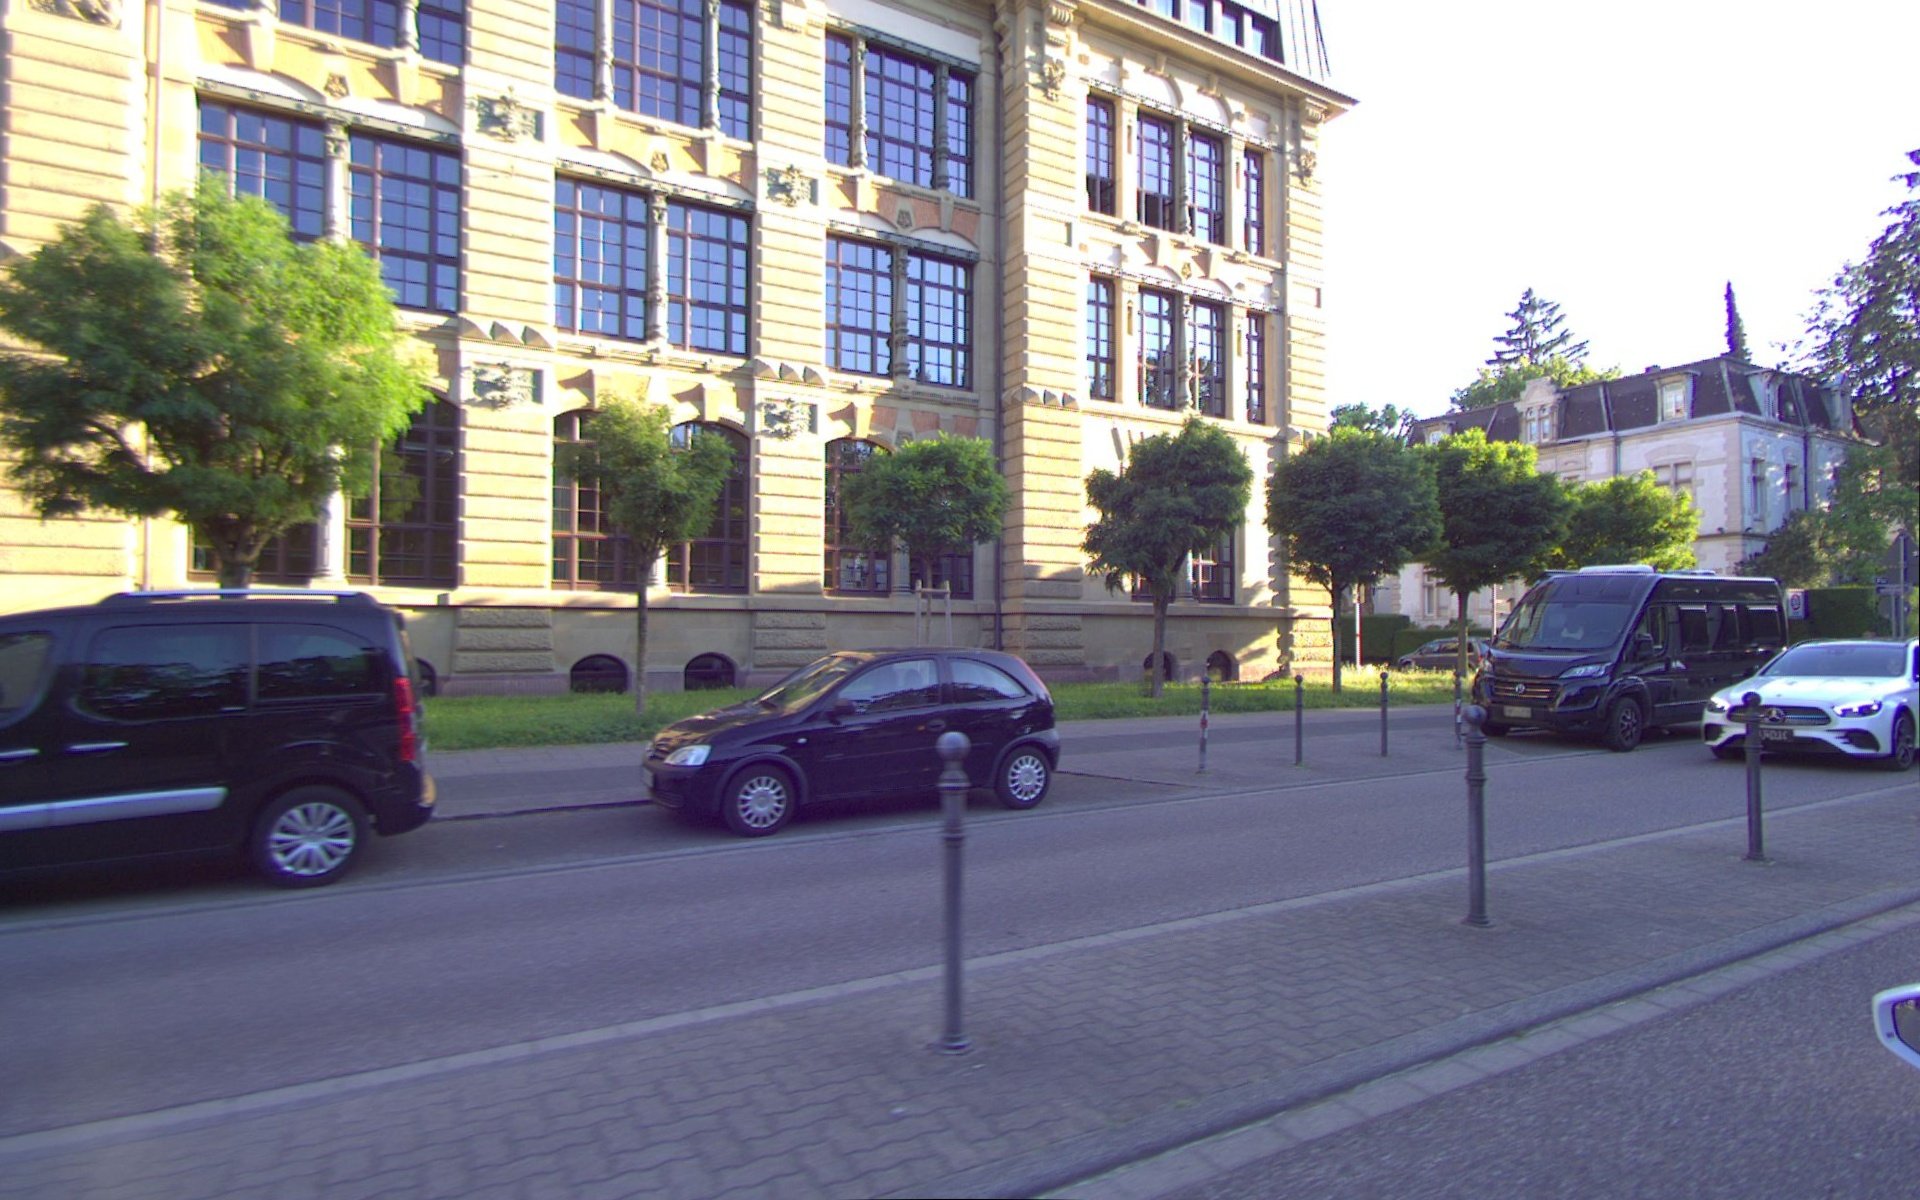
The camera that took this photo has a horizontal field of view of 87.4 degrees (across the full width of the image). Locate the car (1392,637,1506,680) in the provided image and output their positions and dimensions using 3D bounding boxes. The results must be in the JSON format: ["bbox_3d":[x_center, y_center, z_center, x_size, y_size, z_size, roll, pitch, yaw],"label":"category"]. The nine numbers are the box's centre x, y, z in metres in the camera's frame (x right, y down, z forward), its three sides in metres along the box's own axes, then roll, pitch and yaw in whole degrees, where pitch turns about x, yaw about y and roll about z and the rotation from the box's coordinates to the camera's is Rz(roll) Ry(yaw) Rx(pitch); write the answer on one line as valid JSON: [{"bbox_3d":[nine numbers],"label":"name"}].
[{"bbox_3d":[20.730,2.446,42.706,1.899,1.695,3.966,1,-2,-32],"label":"car"}]

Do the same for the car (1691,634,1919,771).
[{"bbox_3d":[11.409,1.206,12.787,4.570,1.477,1.733,2,-3,-31],"label":"car"}]

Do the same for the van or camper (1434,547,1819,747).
[{"bbox_3d":[10.585,0.704,15.698,6.998,2.578,2.218,2,-1,-31],"label":"van or camper"}]

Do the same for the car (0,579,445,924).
[{"bbox_3d":[-5.661,0.820,6.263,4.281,1.891,1.769,1,0,-30],"label":"car"}]

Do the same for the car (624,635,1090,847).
[{"bbox_3d":[-0.891,1.111,9.027,3.807,1.490,1.689,2,0,-29],"label":"car"}]
